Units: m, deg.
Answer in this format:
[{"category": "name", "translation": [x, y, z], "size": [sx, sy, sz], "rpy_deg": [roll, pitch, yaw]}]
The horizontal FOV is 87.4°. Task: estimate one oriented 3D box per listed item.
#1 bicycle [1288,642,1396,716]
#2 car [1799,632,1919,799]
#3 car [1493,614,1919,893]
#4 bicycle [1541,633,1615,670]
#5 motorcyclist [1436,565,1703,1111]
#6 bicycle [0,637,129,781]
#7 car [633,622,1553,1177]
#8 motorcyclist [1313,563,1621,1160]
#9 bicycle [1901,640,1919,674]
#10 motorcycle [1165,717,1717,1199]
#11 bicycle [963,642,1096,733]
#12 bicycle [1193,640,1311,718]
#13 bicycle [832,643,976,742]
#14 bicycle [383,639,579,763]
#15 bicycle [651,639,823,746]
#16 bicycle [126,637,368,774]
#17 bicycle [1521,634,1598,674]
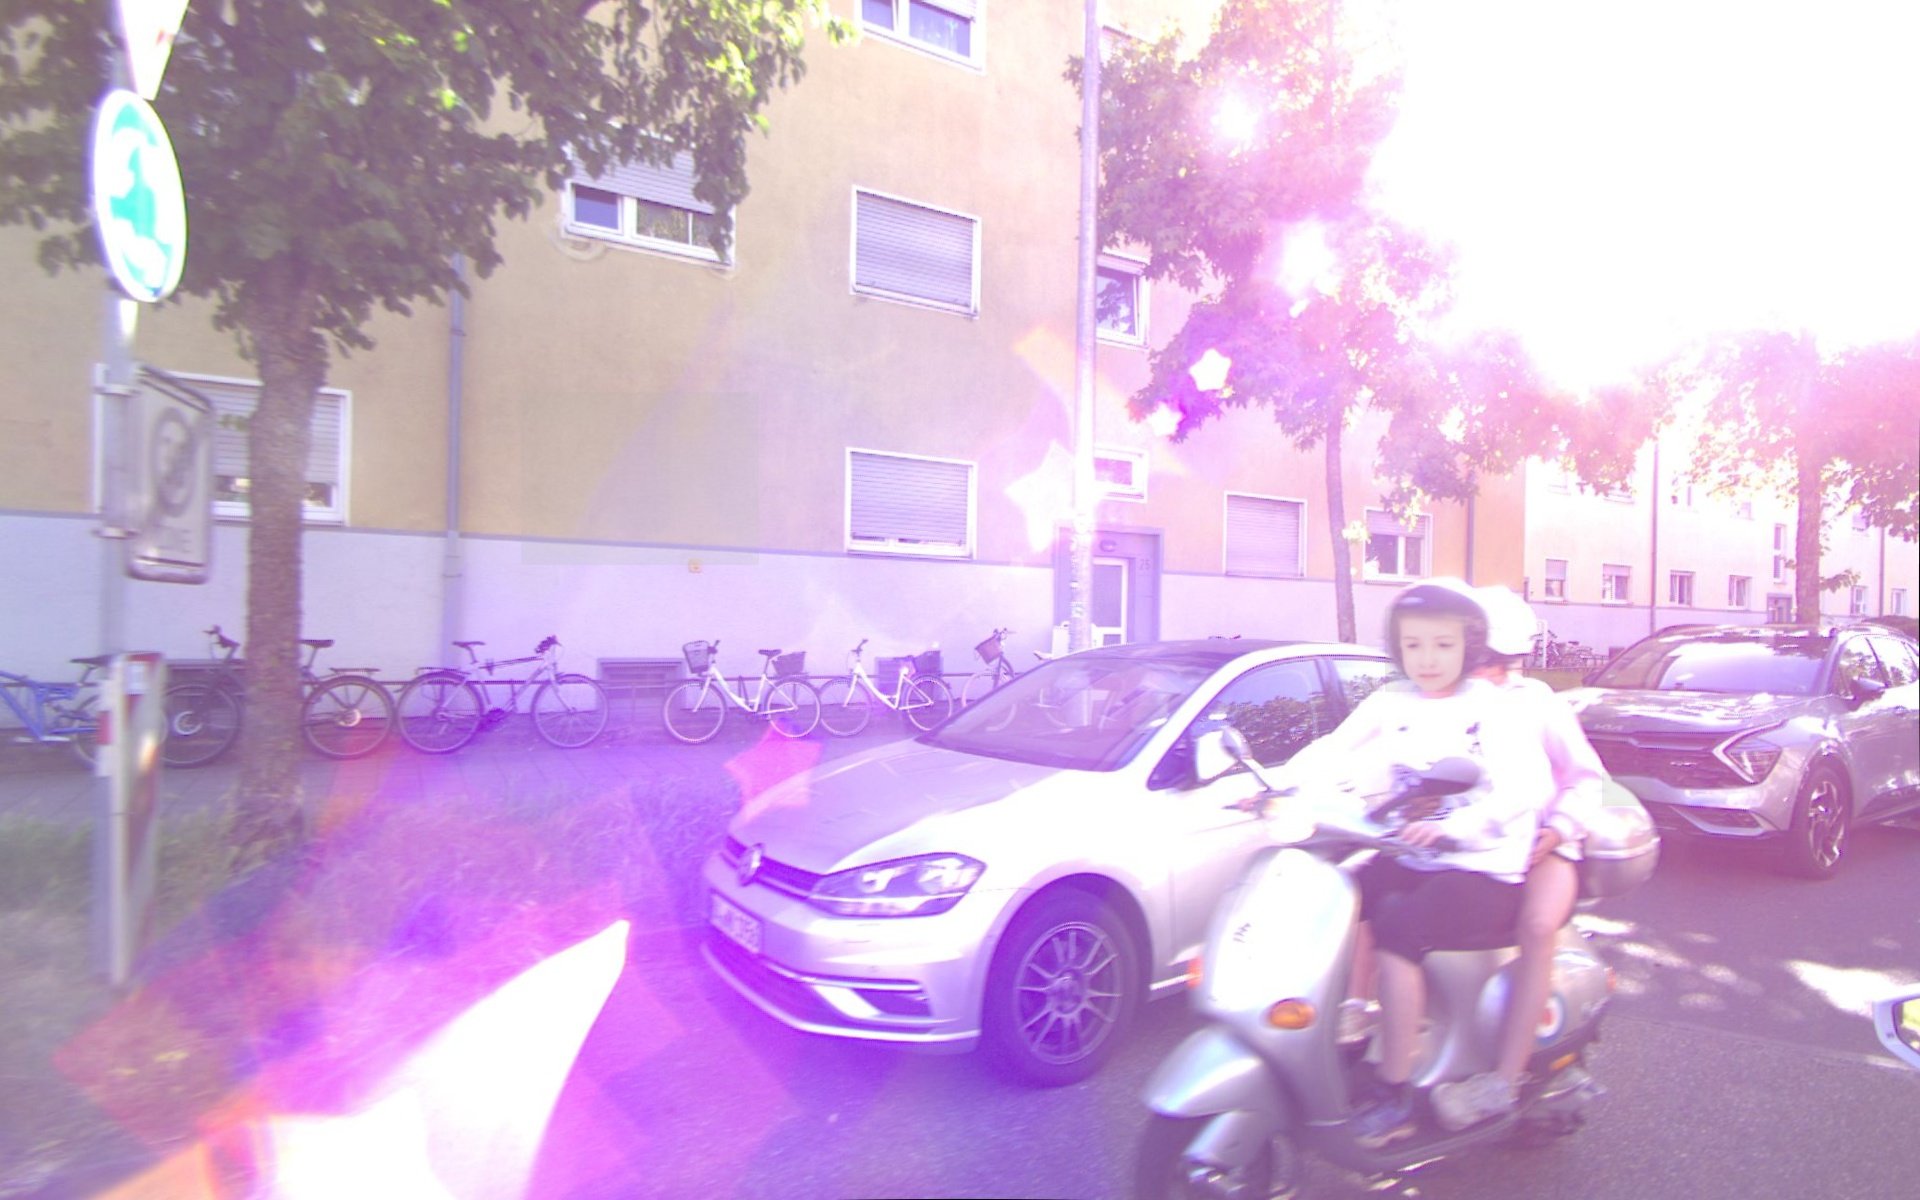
[{"category": "bicycle", "translation": [5.769, 1.174, 15.147], "size": [1.727, 1.040, 0.533], "rpy_deg": [2, -1, -29]}, {"category": "car", "translation": [10.134, 1.101, 10.064], "size": [3.218, 1.505, 1.657], "rpy_deg": [1, -1, -30]}, {"category": "car", "translation": [6.247, 0.944, 7.741], "size": [4.683, 1.585, 1.682], "rpy_deg": [1, -1, -32]}, {"category": "bicycle", "translation": [16.493, 1.358, 26.823], "size": [0.477, 0.943, 1.620], "rpy_deg": [1, -1, -37]}, {"category": "motorcyclist", "translation": [1.801, 0.633, 2.996], "size": [0.399, 1.445, 0.541], "rpy_deg": [1, 0, -30]}, {"category": "bicycle", "translation": [-7.092, 0.781, 7.311], "size": [1.526, 1.014, 0.474], "rpy_deg": [1, -1, -30]}, {"category": "car", "translation": [0.770, 0.867, 4.539], "size": [3.952, 1.461, 1.749], "rpy_deg": [2, -1, -34]}, {"category": "motorcyclist", "translation": [1.379, 0.628, 2.763], "size": [0.514, 1.421, 0.550], "rpy_deg": [1, 0, -30]}, {"category": "bicycle", "translation": [31.902, 1.868, 32.656], "size": [0.481, 1.095, 1.829], "rpy_deg": [1, -1, -32]}, {"category": "motorcycle", "translation": [1.365, 0.971, 2.747], "size": [1.614, 1.191, 0.550], "rpy_deg": [2, 0, -31]}, {"category": "bicycle", "translation": [0.835, 1.019, 11.938], "size": [1.525, 1.014, 0.513], "rpy_deg": [1, -1, -27]}, {"category": "bicycle", "translation": [4.130, 1.094, 14.167], "size": [1.727, 1.040, 0.538], "rpy_deg": [2, -1, -29]}, {"category": "bicycle", "translation": [-0.612, 0.997, 11.153], "size": [1.526, 1.014, 0.509], "rpy_deg": [1, -1, -30]}, {"category": "bicycle", "translation": [-4.242, 0.864, 8.947], "size": [1.526, 1.014, 0.451], "rpy_deg": [1, -1, -30]}, {"category": "bicycle", "translation": [-2.264, 0.917, 10.296], "size": [1.662, 1.014, 0.432], "rpy_deg": [1, -1, -30]}, {"category": "bicycle", "translation": [-5.670, 0.814, 8.093], "size": [1.526, 1.014, 0.472], "rpy_deg": [1, -1, -30]}, {"category": "bicycle", "translation": [15.051, 1.339, 25.253], "size": [0.476, 0.943, 1.623], "rpy_deg": [1, -1, -32]}]
